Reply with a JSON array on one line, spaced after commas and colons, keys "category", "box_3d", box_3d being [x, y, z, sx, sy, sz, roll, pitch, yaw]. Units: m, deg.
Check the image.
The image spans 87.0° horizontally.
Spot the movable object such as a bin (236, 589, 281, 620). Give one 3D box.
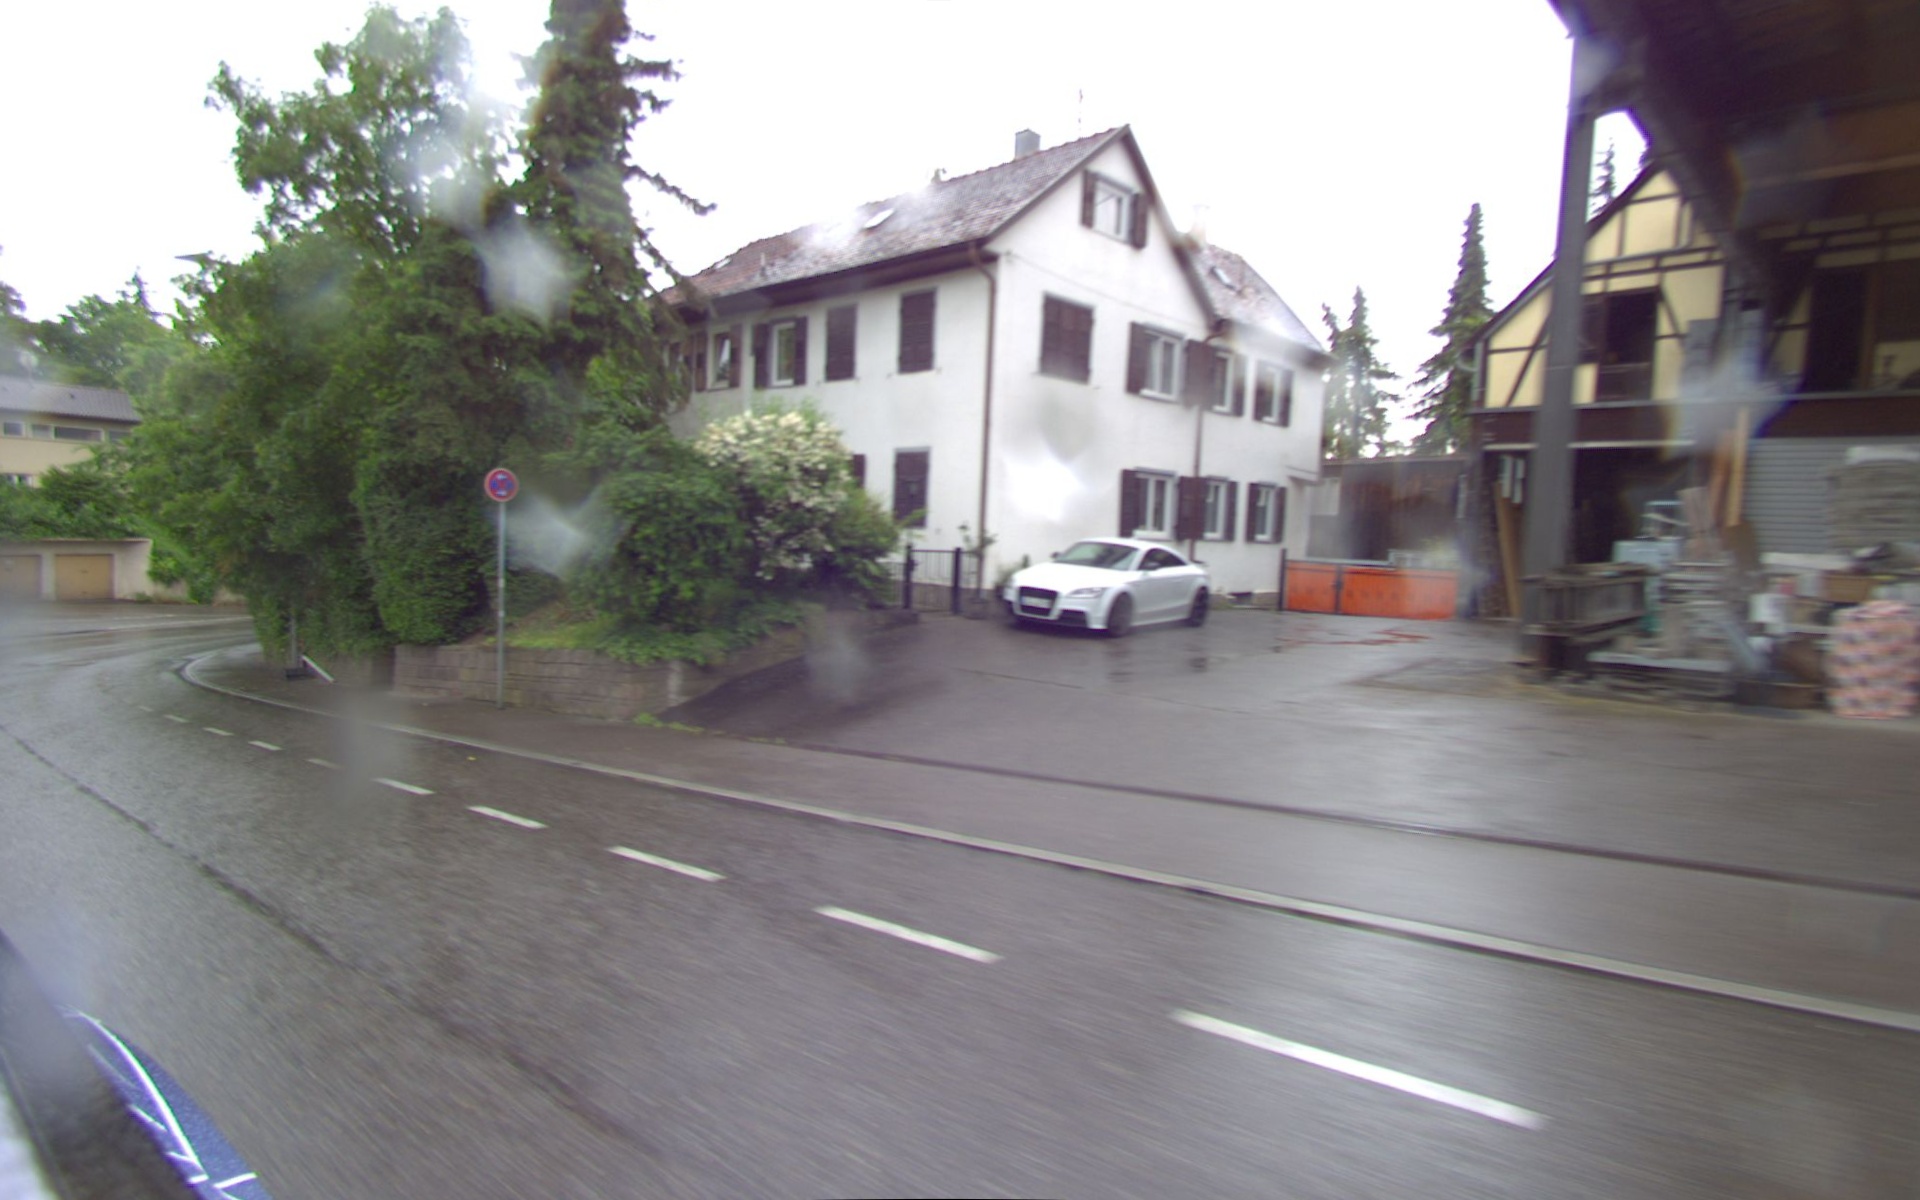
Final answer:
[{"category": "movable object such as a bin", "box_3d": [-36.441, 0.230, 52.596, 1.152, 1.419, 1.474, 7, 2, 21]}]

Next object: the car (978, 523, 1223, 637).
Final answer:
[{"category": "car", "box_3d": [2.254, -0.313, 15.464, 1.803, 1.519, 3.944, 2, 2, 42]}]
